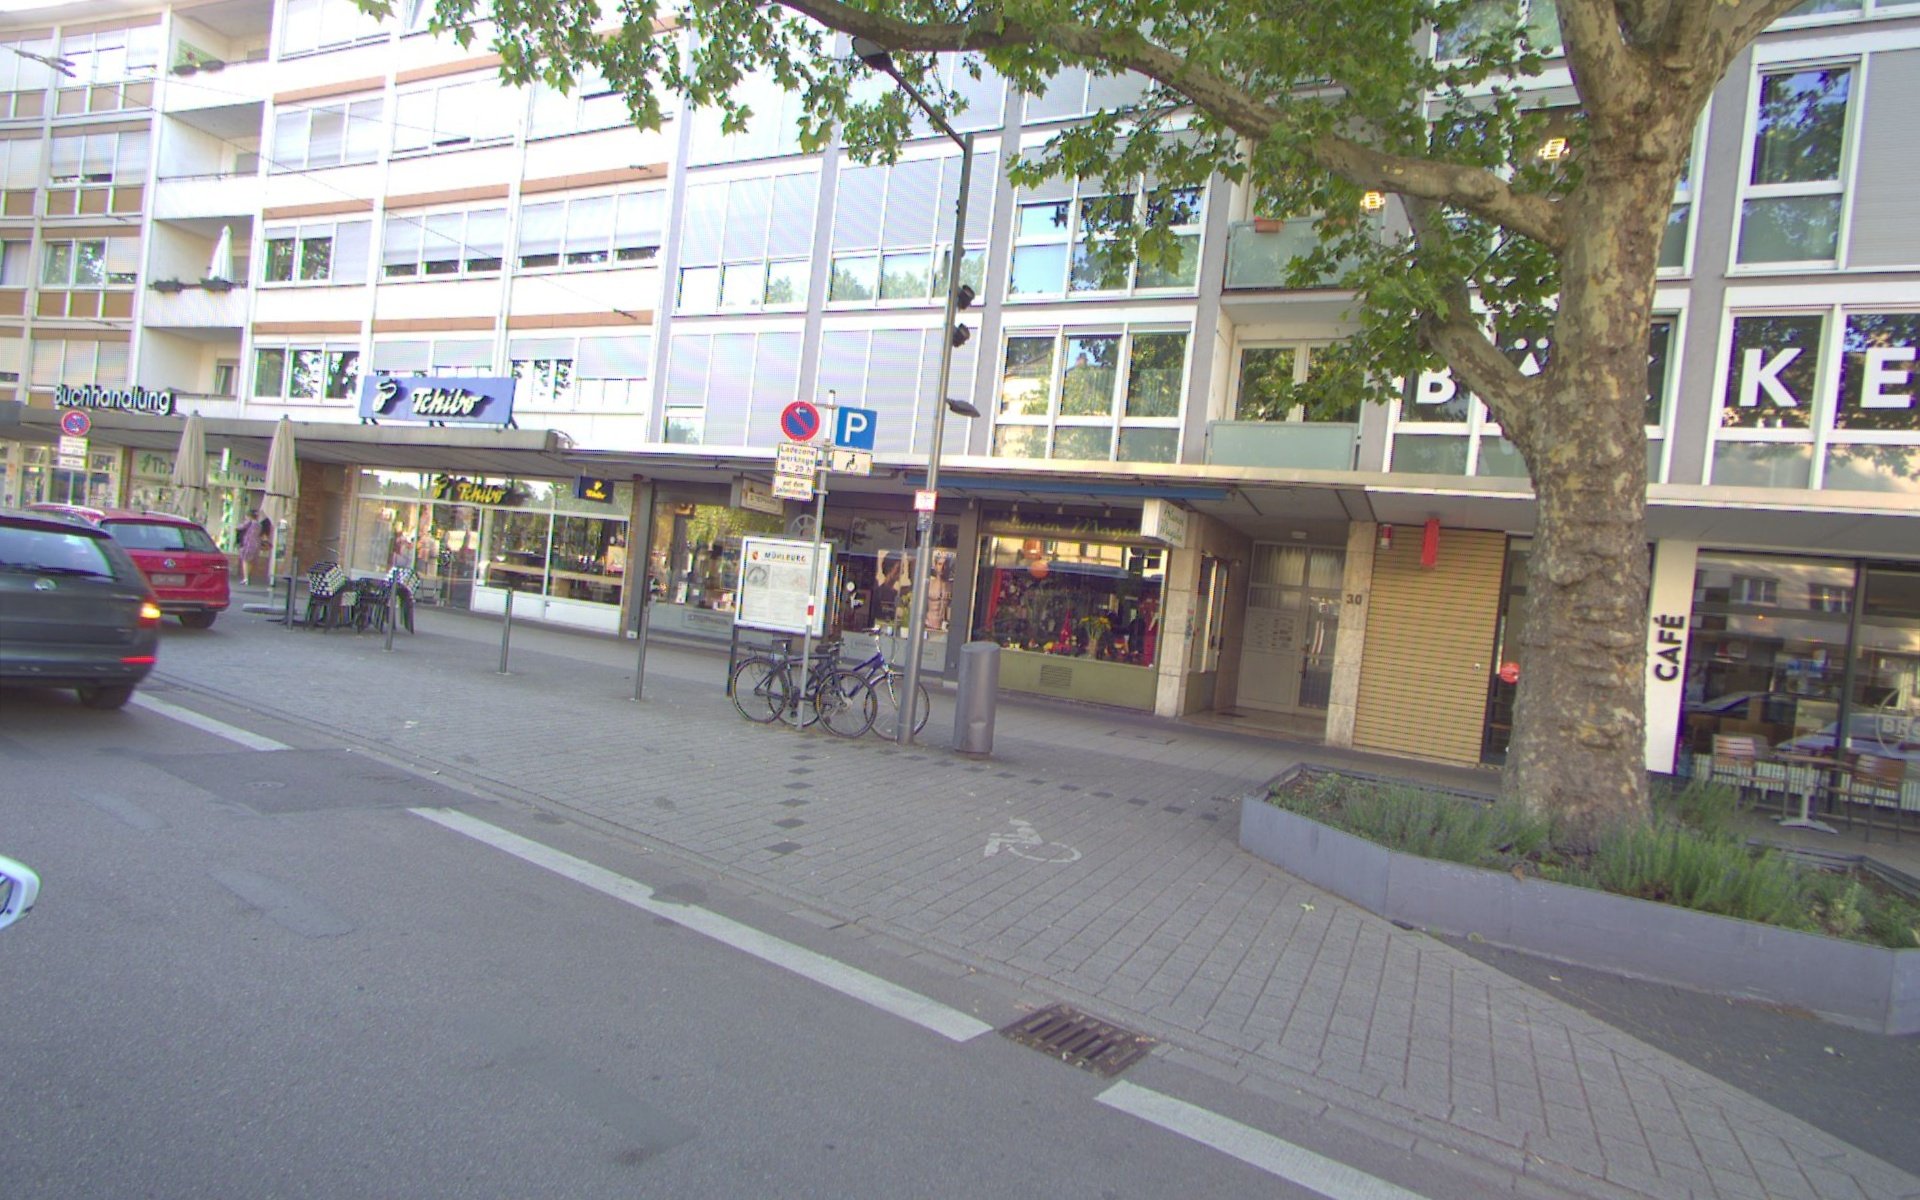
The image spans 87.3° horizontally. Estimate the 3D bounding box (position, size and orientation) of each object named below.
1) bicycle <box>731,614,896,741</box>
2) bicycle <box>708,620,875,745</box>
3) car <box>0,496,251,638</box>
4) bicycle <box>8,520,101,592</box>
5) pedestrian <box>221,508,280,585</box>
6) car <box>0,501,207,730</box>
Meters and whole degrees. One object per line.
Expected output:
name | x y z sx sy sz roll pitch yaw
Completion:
bicycle | -1.566 0.800 10.651 1.686 1.116 0.294 6 4 17
bicycle | -1.754 0.835 10.414 1.686 1.055 0.294 6 4 17
car | -11.757 -0.506 13.494 4.488 1.516 1.780 6 2 28
bicycle | -15.786 -0.774 17.537 1.631 1.085 0.512 7 3 22
pedestrian | -15.664 -1.179 22.226 0.793 1.571 0.641 7 1 24
car | -7.896 -0.057 7.735 4.002 1.490 1.808 6 -2 30
